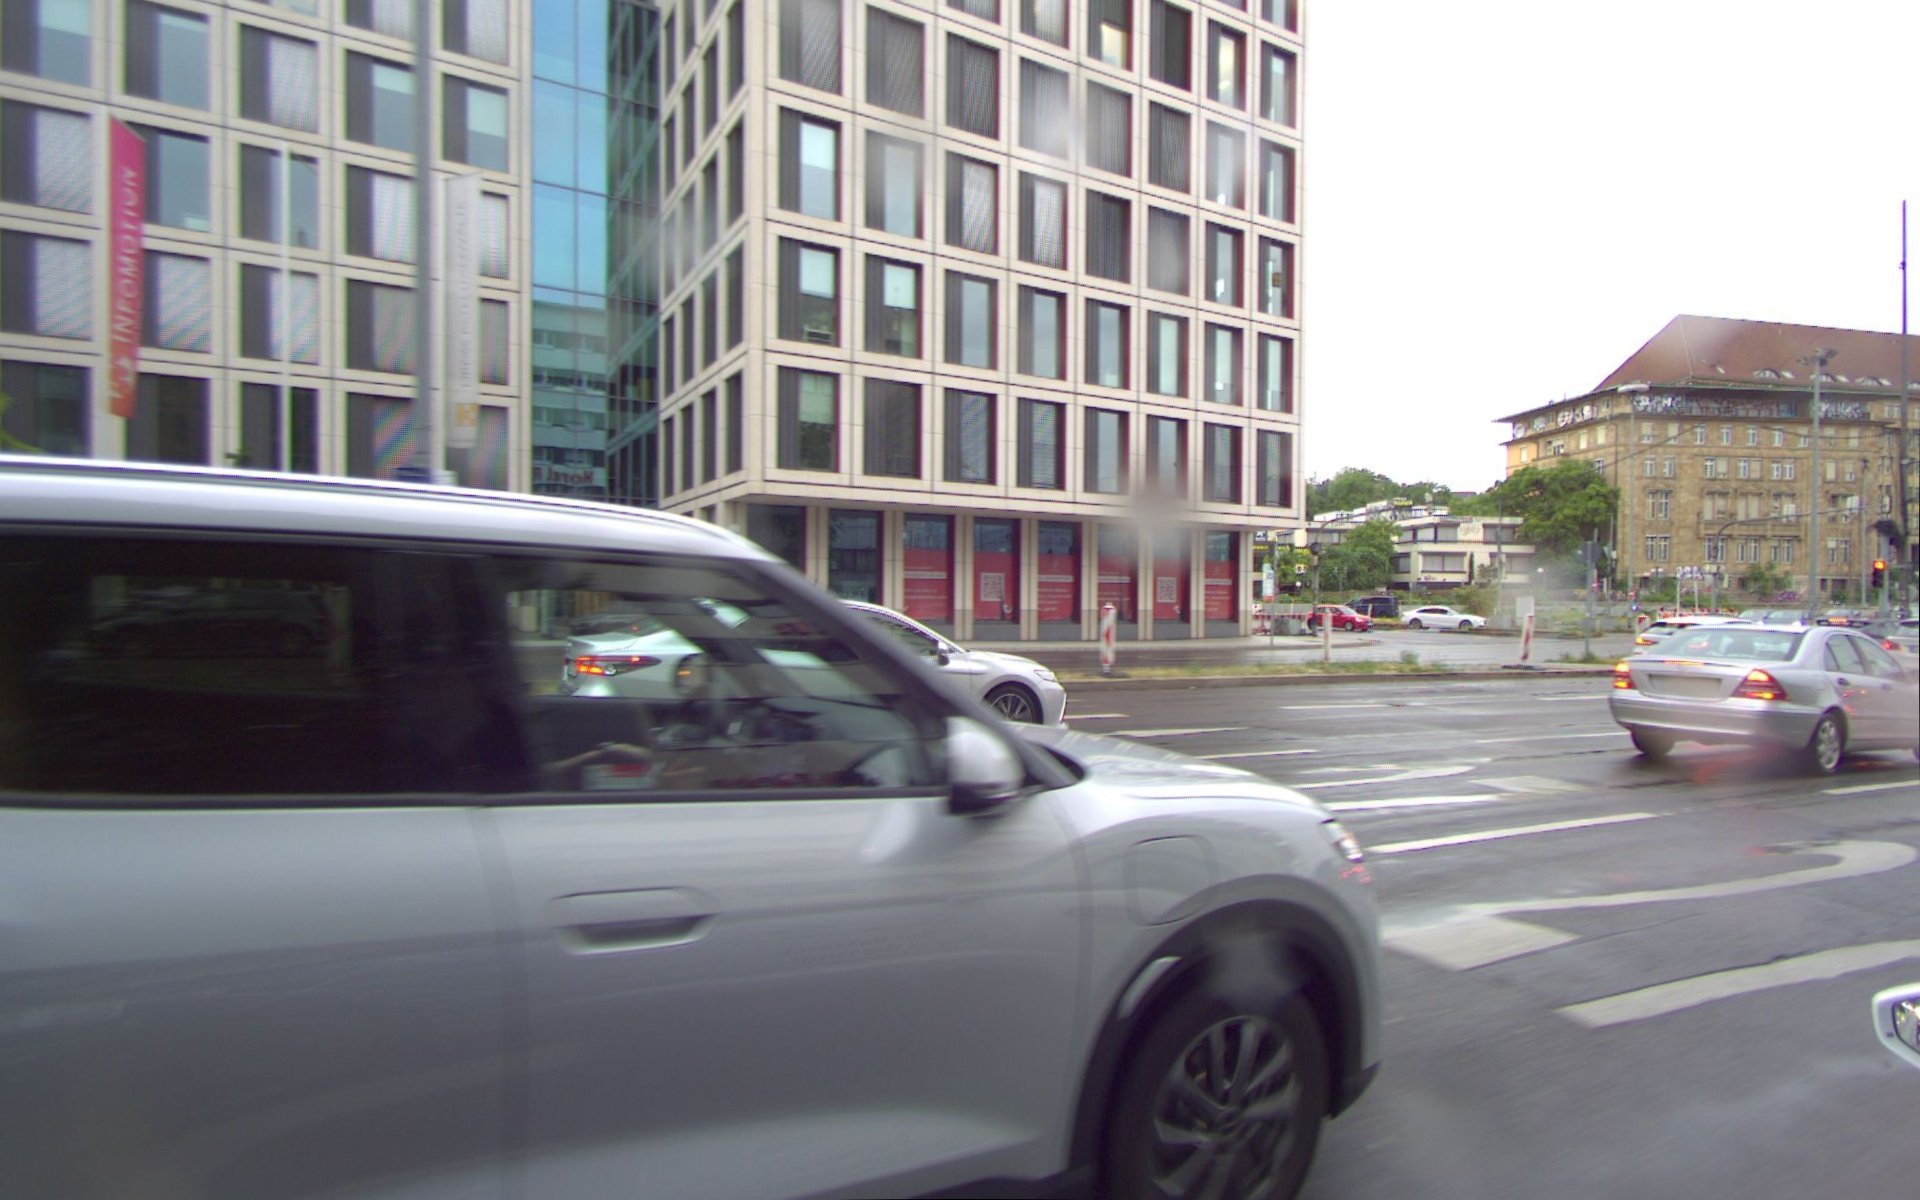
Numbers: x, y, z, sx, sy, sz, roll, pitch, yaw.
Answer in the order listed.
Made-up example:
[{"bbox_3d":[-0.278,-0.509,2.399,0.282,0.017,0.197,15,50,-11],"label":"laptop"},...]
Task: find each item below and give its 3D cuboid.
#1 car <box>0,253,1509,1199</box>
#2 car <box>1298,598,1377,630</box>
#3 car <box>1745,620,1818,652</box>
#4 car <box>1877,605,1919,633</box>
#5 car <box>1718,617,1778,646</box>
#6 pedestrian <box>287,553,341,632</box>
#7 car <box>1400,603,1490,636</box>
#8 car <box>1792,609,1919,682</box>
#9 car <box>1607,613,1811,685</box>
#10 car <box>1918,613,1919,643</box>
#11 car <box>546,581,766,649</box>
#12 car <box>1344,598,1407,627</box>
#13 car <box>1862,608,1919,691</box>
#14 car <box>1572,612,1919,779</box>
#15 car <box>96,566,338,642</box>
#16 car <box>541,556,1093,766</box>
[{"bbox_3d":[-0.841,0.471,2.258,4.125,1.683,1.798,2,1,-32],"label":"car"},{"bbox_3d":[21.592,0.778,57.556,1.660,1.617,3.958,2,1,-36],"label":"car"},{"bbox_3d":[41.450,1.822,50.677,3.831,1.539,1.688,2,-1,-32],"label":"car"},{"bbox_3d":[57.666,1.182,61.201,3.958,1.595,1.687,2,1,-34],"label":"car"},{"bbox_3d":[44.514,1.798,56.710,3.651,1.539,1.687,2,-1,-35],"label":"car"},{"bbox_3d":[-14.953,-0.171,23.269,0.956,1.757,0.609,2,1,-30],"label":"pedestrian"},{"bbox_3d":[28.483,1.129,59.027,4.333,1.684,1.989,4,1,43],"label":"car"},{"bbox_3d":[23.188,1.161,25.027,4.006,1.621,1.783,3,1,-16],"label":"car"},{"bbox_3d":[16.923,1.110,22.709,3.932,1.391,1.781,3,1,-20],"label":"car"},{"bbox_3d":[54.338,1.634,55.036,4.032,1.595,1.790,2,1,-34],"label":"car"},{"bbox_3d":[-7.716,0.417,25.731,5.126,1.590,1.688,2,-1,-32],"label":"car"},{"bbox_3d":[32.845,0.958,79.400,4.162,2.040,1.991,4,1,40],"label":"car"},{"bbox_3d":[21.068,1.086,21.055,3.945,1.637,1.728,3,1,-25],"label":"car"},{"bbox_3d":[8.774,0.951,10.800,4.328,1.422,1.726,3,1,-28],"label":"car"},{"bbox_3d":[-15.422,0.129,21.140,3.911,1.443,1.688,2,-1,-32],"label":"car"},{"bbox_3d":[-1.223,0.503,9.398,4.746,1.541,1.821,2,1,-31],"label":"car"}]
